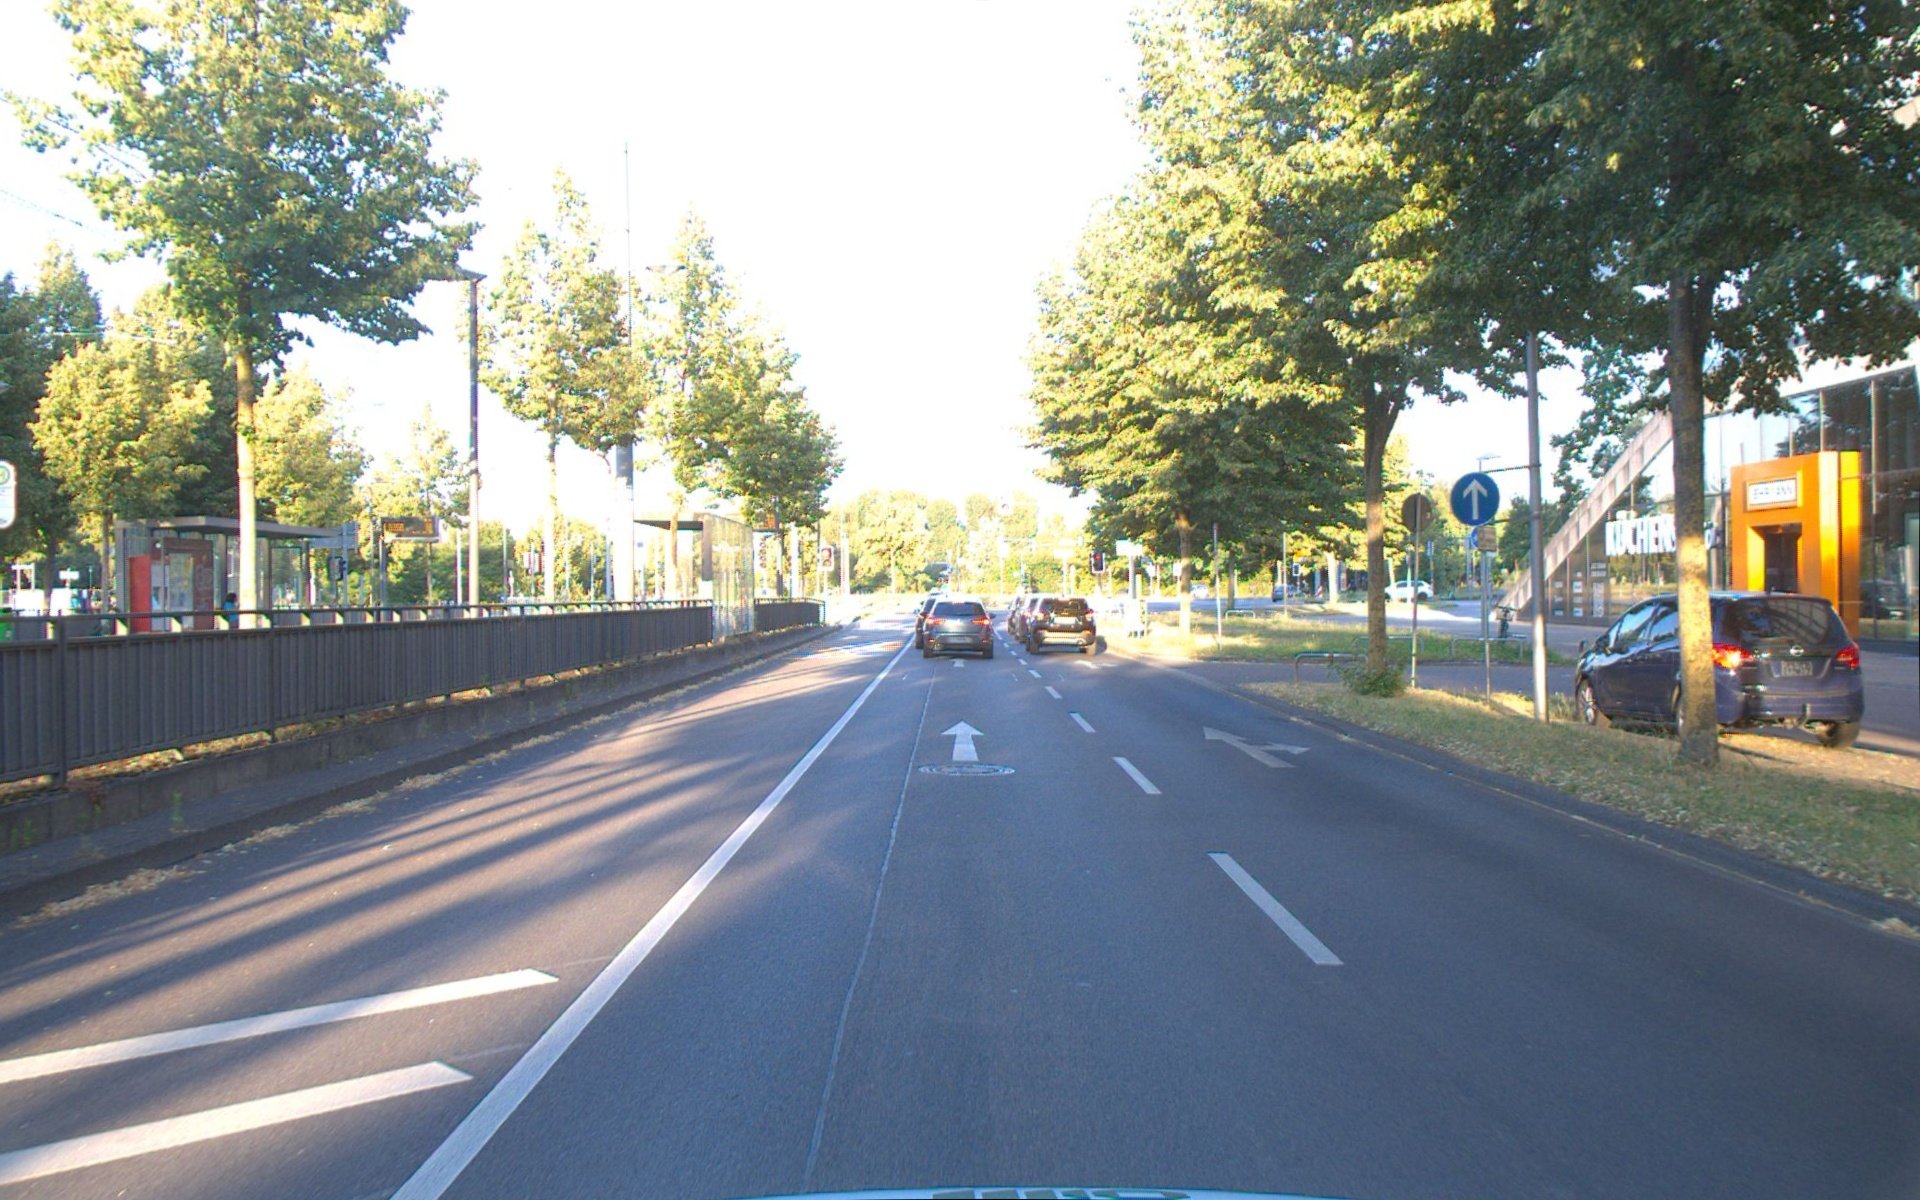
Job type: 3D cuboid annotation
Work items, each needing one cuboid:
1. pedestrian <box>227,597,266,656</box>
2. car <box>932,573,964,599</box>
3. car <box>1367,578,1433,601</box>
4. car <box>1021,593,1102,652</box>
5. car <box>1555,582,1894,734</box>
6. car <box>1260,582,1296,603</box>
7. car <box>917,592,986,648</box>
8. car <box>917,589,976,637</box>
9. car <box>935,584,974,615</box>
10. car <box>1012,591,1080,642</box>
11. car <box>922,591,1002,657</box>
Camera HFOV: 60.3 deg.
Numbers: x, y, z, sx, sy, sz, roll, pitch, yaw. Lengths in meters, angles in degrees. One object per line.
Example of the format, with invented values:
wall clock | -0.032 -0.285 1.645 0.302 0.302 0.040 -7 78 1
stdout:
pedestrian | -16.748 0.616 38.852 0.602 1.342 0.744 -1 0 -4
car | -0.741 -0.852 98.605 1.873 1.512 3.999 -1 0 -1
car | 30.350 -0.732 114.197 4.331 1.512 1.920 -1 0 13
car | 2.709 0.578 44.774 1.873 1.512 3.999 0 0 -1
car | 8.338 0.561 18.496 1.721 1.491 4.156 -1 0 -3
car | 27.868 -0.647 144.867 1.956 1.758 3.994 -1 0 29
car | -0.267 0.536 47.157 1.873 1.512 3.999 -1 0 -1
car | -0.458 0.418 55.139 1.873 1.512 3.999 -1 0 -1
car | -0.301 -0.053 82.887 1.873 1.512 3.999 -1 0 -1
car | 2.672 0.481 52.089 1.873 1.512 3.999 -1 0 -1
car | 0.015 0.559 40.860 1.873 1.512 3.999 -1 0 -1
